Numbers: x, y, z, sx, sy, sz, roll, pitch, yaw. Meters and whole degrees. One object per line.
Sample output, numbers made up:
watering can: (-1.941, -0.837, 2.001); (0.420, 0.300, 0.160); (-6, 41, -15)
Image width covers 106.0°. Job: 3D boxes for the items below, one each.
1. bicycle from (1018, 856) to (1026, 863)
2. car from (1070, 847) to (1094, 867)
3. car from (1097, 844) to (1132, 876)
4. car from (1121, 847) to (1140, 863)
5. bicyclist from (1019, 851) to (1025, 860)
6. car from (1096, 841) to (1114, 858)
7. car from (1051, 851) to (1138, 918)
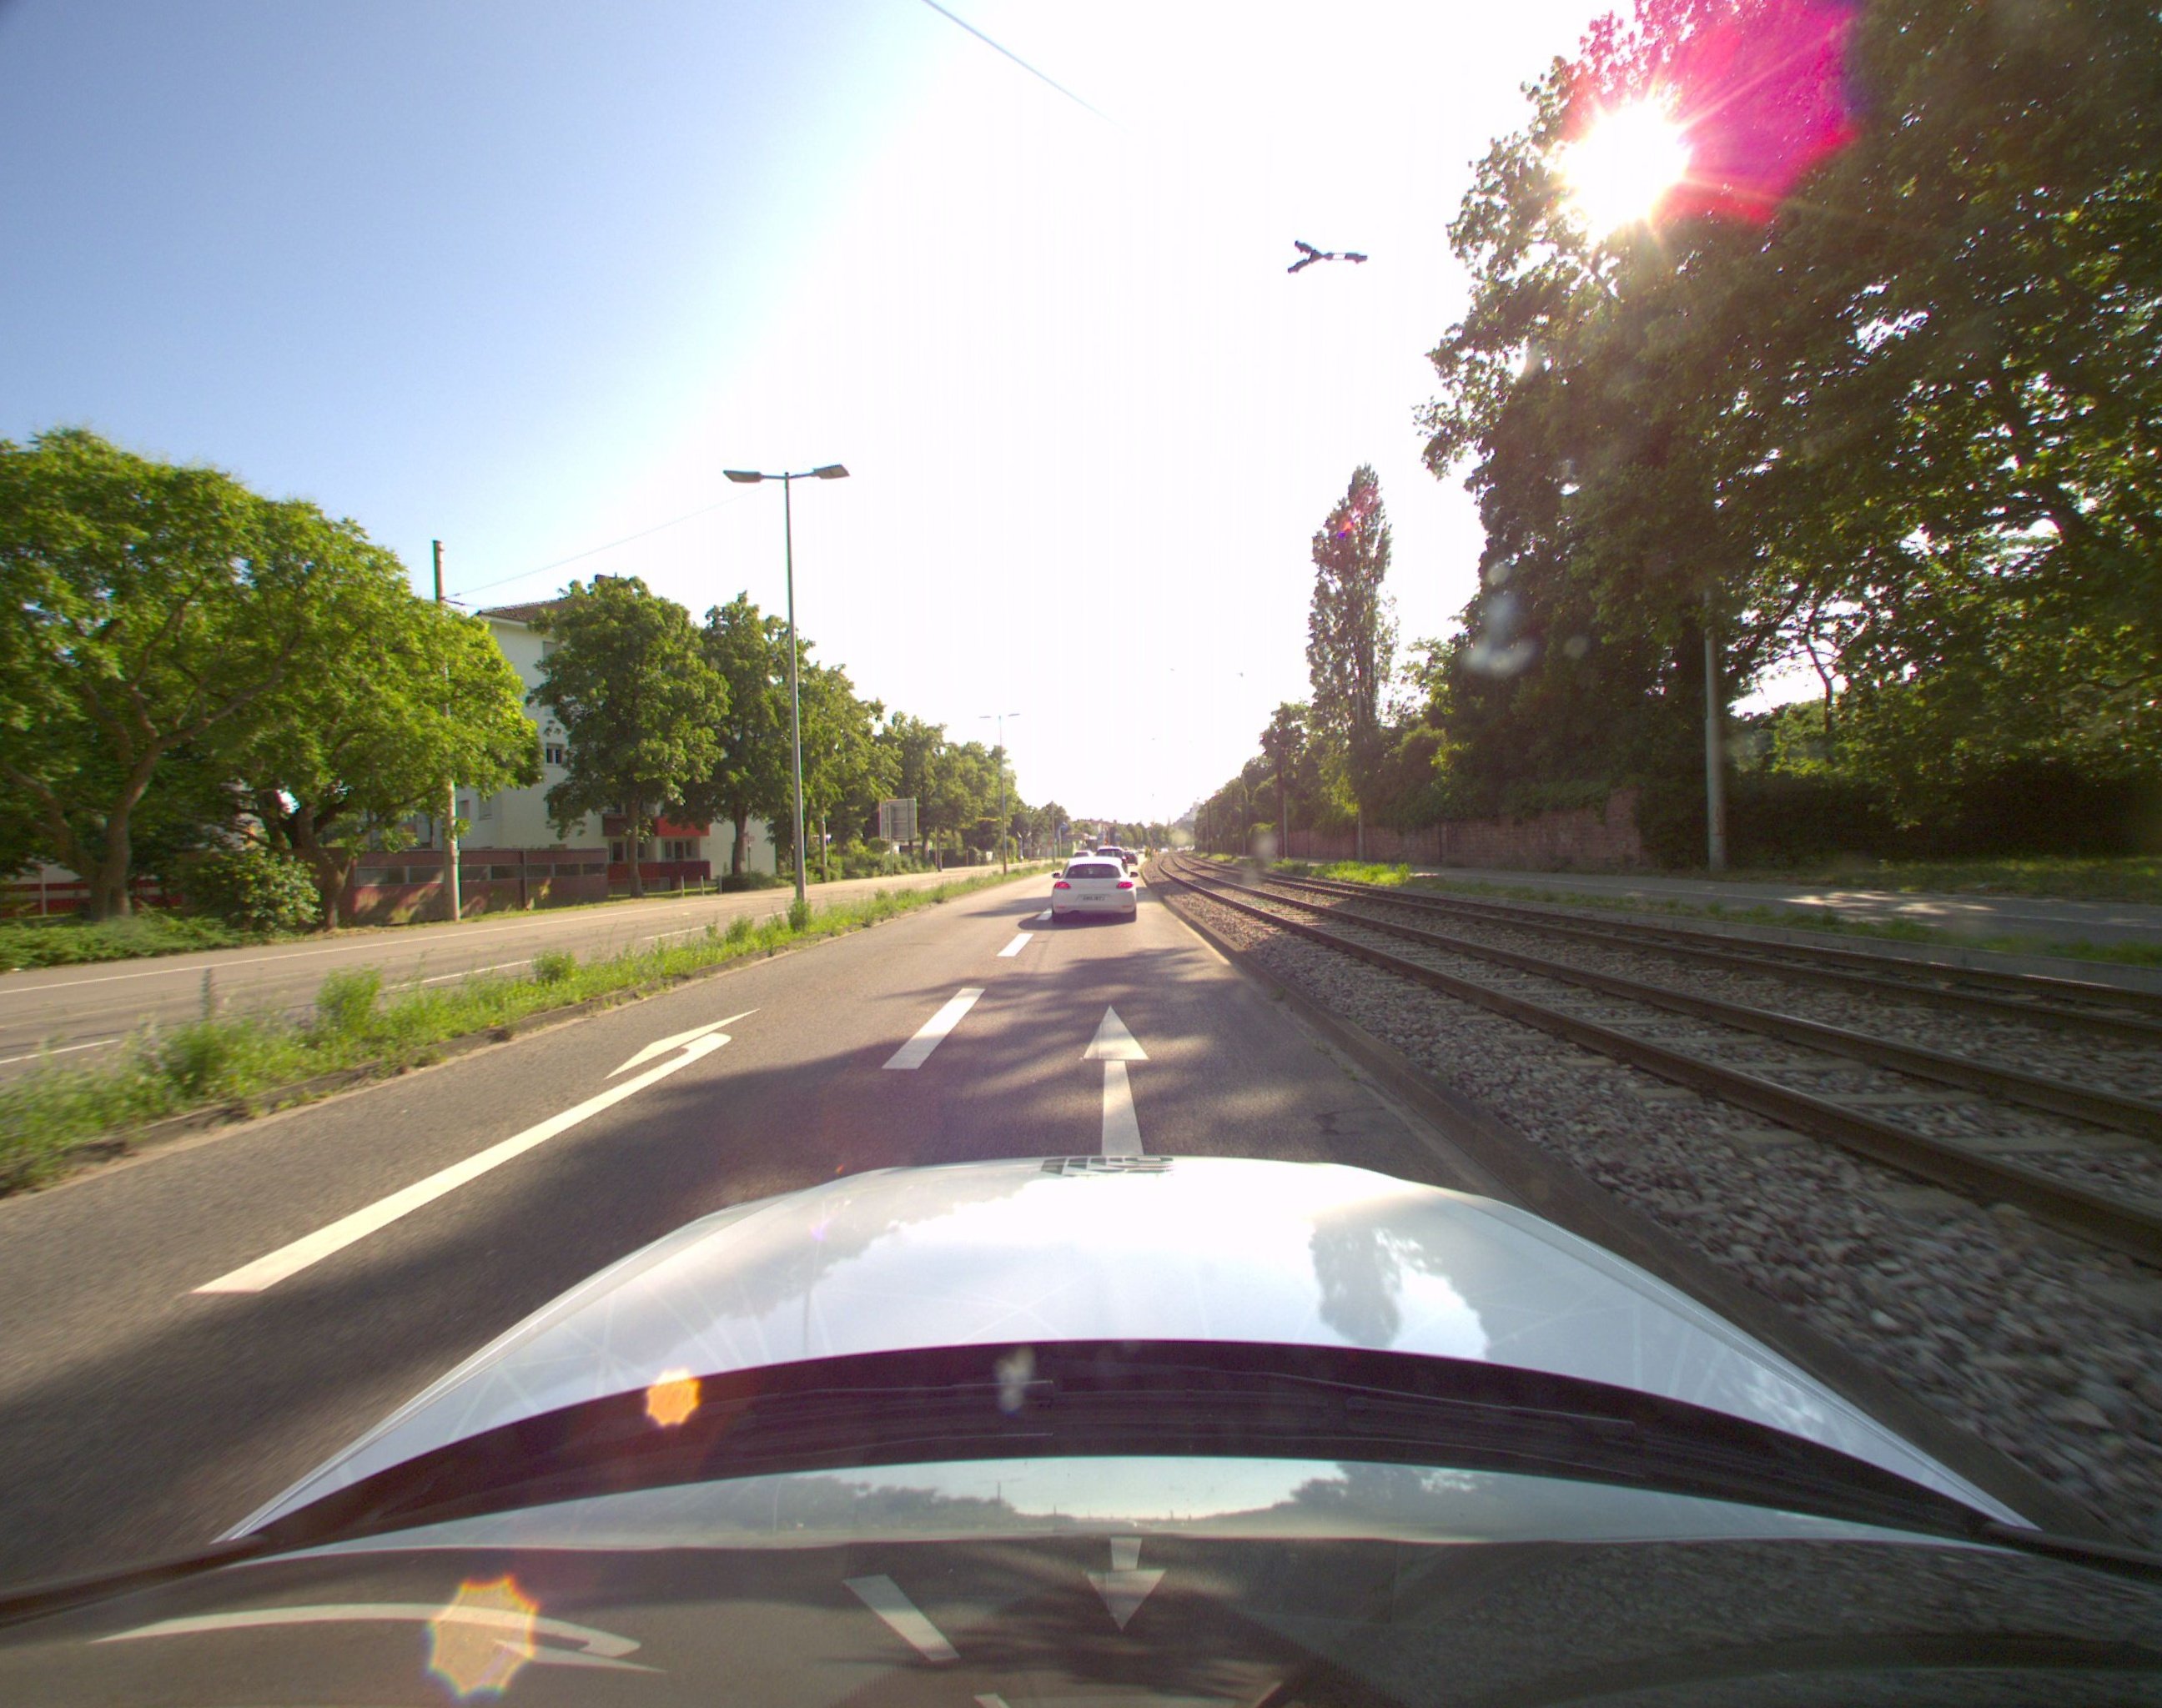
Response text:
bicycle: (-9.547, 0.826, 131.343); (0.658, 1.049, 2.587); (-2, 0, 9)
car: (0.123, 0.221, 65.618); (1.753, 1.485, 4.648); (0, 0, 2)
car: (1.744, 0.282, 42.016); (1.717, 1.593, 3.603); (0, 0, 2)
car: (4.806, 0.071, 79.218); (1.742, 1.485, 3.603); (0, 0, 2)
bicyclist: (-9.561, 0.180, 131.419); (0.658, 1.452, 1.053); (-2, 0, 9)
car: (2.973, -0.504, 99.992); (1.809, 1.963, 4.408); (-2, 0, 5)
car: (0.344, 0.622, 18.425); (1.774, 1.356, 3.603); (0, 0, 2)
